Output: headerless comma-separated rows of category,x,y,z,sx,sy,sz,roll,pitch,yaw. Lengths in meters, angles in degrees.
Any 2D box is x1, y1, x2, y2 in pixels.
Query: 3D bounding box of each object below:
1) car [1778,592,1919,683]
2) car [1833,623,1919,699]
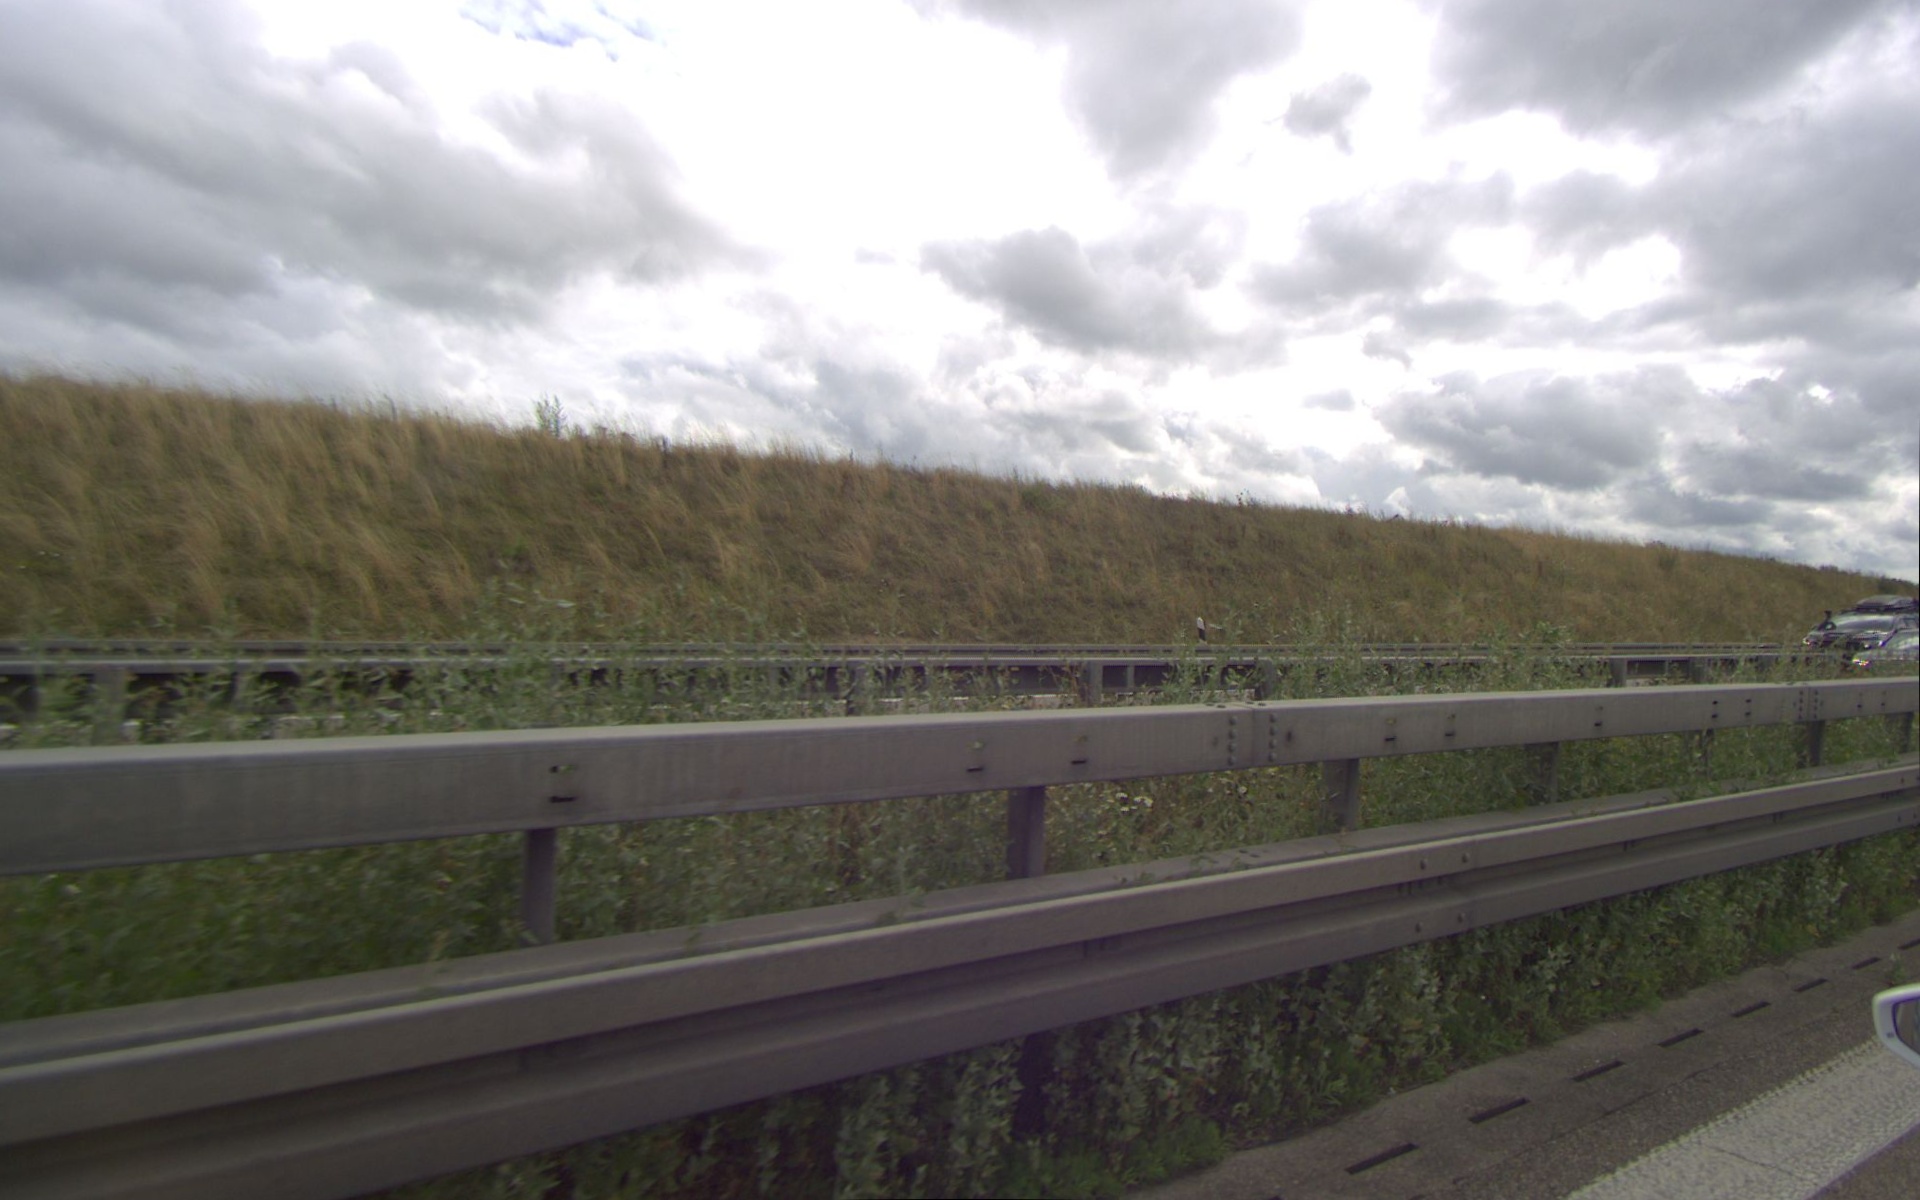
car,25.010,1.046,27.623,5.652,2.272,1.984,2,0,-30
car,20.412,1.283,21.114,4.355,1.421,1.802,2,0,-31
